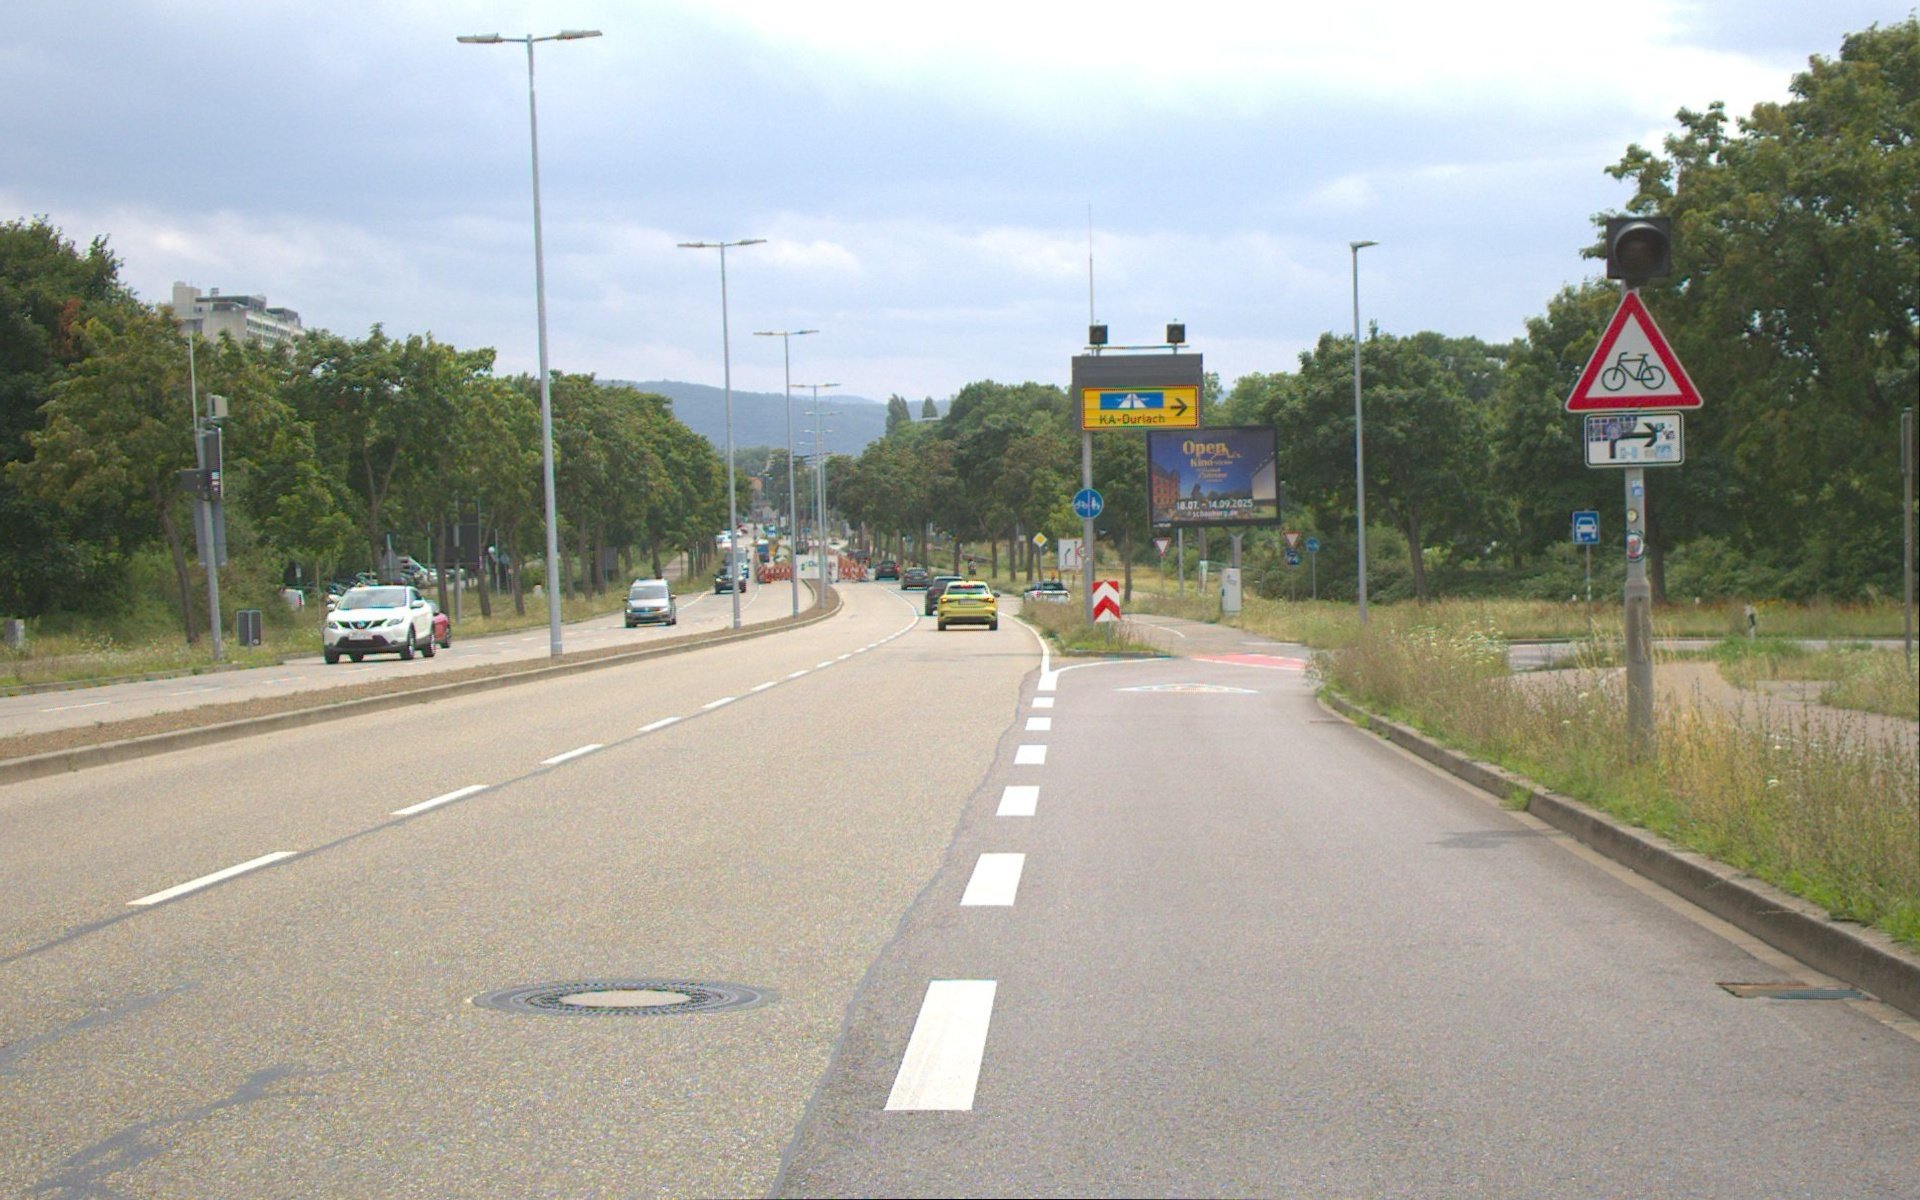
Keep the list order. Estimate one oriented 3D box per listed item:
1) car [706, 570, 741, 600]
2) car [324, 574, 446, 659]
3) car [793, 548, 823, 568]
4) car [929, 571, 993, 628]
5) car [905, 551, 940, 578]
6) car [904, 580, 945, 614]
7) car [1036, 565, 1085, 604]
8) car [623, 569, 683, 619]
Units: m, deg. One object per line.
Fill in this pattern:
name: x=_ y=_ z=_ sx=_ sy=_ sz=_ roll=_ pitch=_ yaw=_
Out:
car: x=-15.603 y=-0.990 z=226.624 sx=1.993 sy=1.805 sz=4.798 roll=-2 pitch=2 yaw=-1
car: x=-12.081 y=0.316 z=72.461 sx=1.694 sy=1.623 sz=4.384 roll=-1 pitch=2 yaw=2
car: x=-11.412 y=-3.166 z=258.152 sx=1.993 sy=1.426 sz=4.688 roll=-2 pitch=1 yaw=1
car: x=0.006 y=-0.024 z=101.801 sx=1.793 sy=1.556 sz=4.001 roll=-1 pitch=2 yaw=-1
car: x=-2.453 y=-2.317 z=224.086 sx=2.206 sy=1.678 sz=4.000 roll=-1 pitch=2 yaw=0
car: x=-1.489 y=-0.134 z=144.686 sx=1.667 sy=1.265 sz=4.001 roll=-1 pitch=2 yaw=-1
car: x=4.593 y=-0.739 z=157.288 sx=2.013 sy=1.665 sz=4.001 roll=-1 pitch=2 yaw=-1
car: x=-11.857 y=-0.241 z=133.013 sx=1.902 sy=1.803 sz=4.540 roll=-1 pitch=2 yaw=0
